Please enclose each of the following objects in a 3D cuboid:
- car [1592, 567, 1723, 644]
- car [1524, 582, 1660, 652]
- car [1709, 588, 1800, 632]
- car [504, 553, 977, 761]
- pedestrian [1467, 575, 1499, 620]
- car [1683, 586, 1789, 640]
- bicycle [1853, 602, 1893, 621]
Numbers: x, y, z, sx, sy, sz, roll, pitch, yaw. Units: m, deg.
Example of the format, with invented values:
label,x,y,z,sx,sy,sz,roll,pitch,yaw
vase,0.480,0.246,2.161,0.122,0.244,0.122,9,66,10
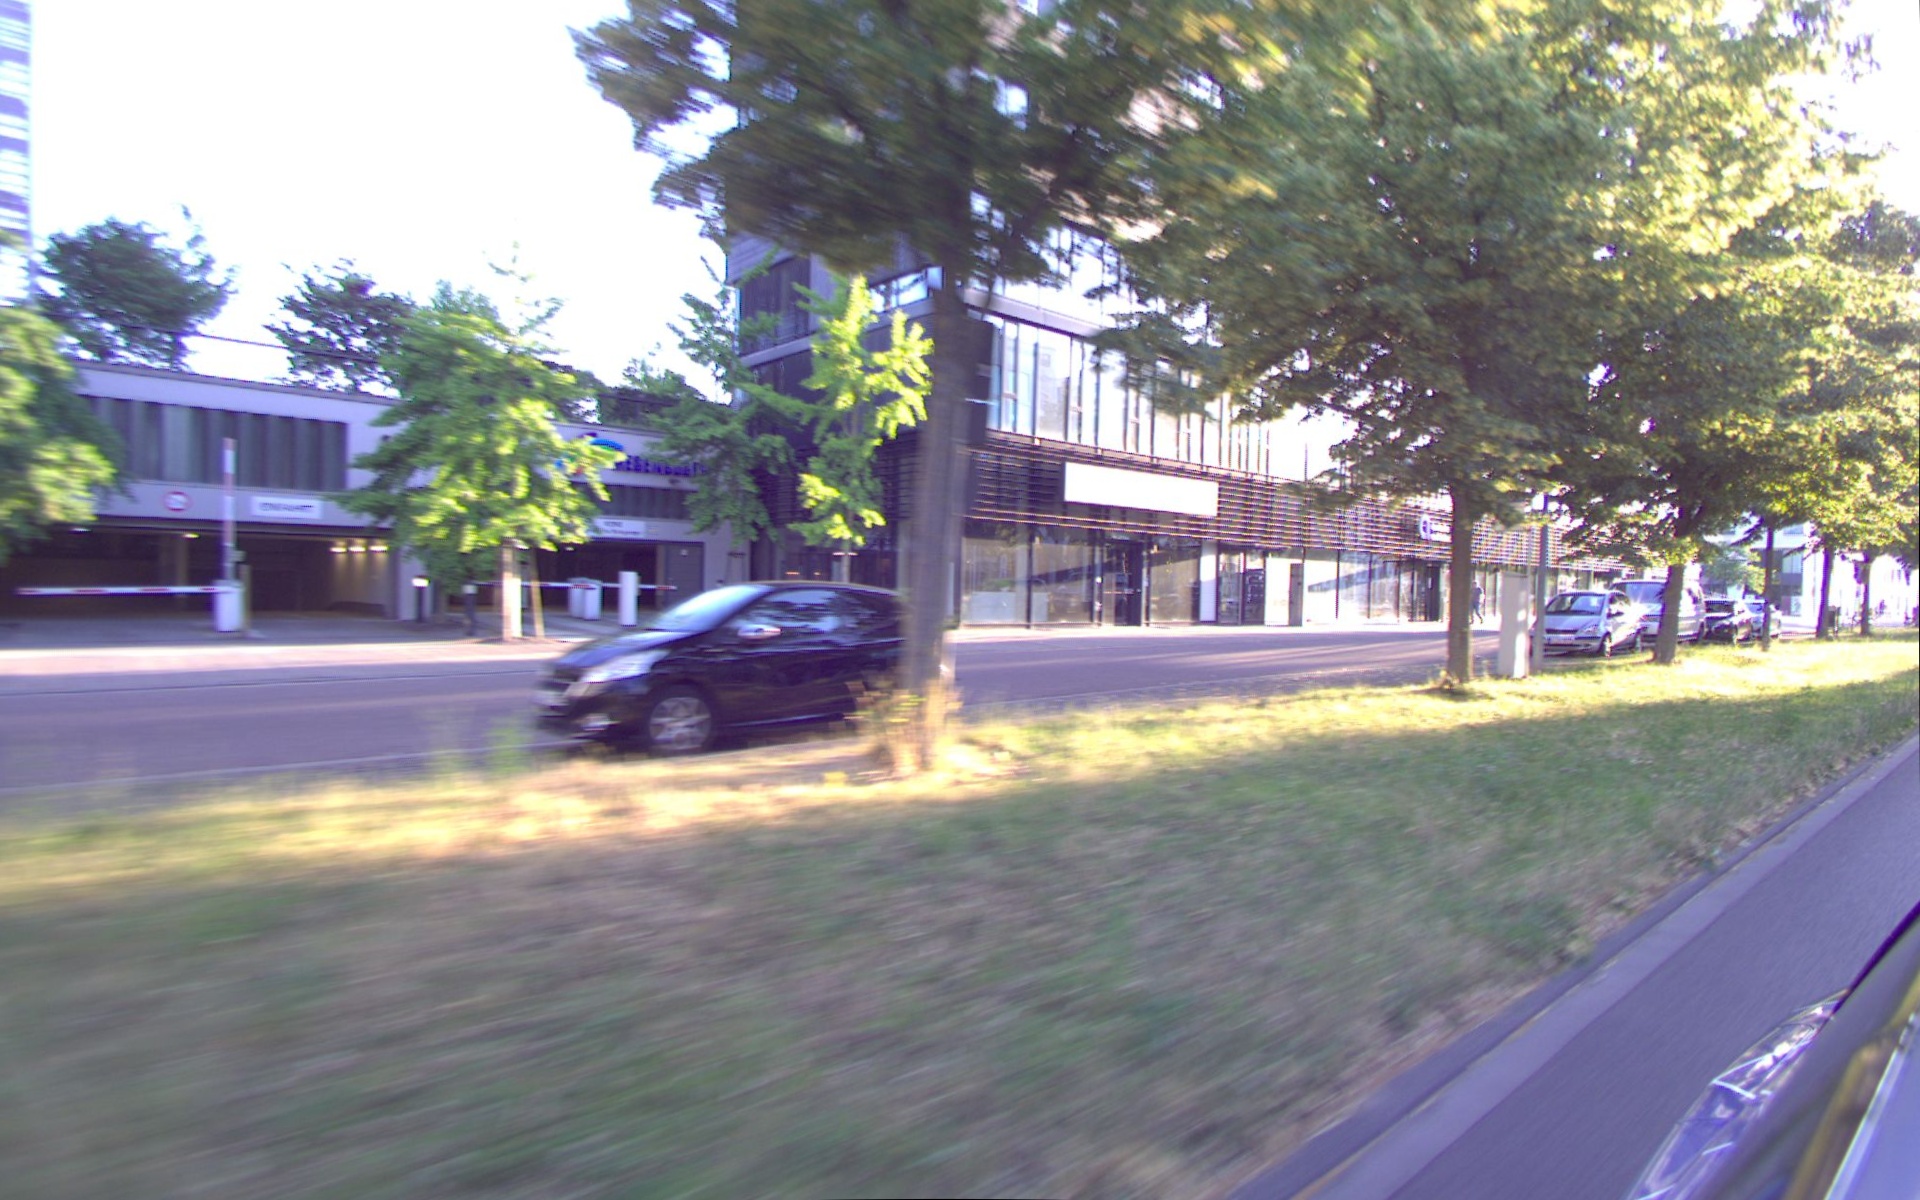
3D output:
label,x,y,z,sx,sy,sz,roll,pitch,yaw
car,19.793,0.127,28.638,4.847,2.014,1.989,0,1,-42
car,15.630,0.372,24.963,3.992,1.590,1.841,0,1,-42
car,29.359,0.340,37.352,4.956,1.515,1.919,0,1,-43
car,-1.891,0.437,9.374,3.930,1.513,1.783,0,-2,-41
pedestrian,21.768,-0.109,42.120,0.897,1.819,0.898,0,1,-42
car,25.044,0.369,32.623,4.215,1.514,1.863,0,4,-41
bicycle,48.236,0.615,53.487,0.355,0.921,1.726,1,1,-8
